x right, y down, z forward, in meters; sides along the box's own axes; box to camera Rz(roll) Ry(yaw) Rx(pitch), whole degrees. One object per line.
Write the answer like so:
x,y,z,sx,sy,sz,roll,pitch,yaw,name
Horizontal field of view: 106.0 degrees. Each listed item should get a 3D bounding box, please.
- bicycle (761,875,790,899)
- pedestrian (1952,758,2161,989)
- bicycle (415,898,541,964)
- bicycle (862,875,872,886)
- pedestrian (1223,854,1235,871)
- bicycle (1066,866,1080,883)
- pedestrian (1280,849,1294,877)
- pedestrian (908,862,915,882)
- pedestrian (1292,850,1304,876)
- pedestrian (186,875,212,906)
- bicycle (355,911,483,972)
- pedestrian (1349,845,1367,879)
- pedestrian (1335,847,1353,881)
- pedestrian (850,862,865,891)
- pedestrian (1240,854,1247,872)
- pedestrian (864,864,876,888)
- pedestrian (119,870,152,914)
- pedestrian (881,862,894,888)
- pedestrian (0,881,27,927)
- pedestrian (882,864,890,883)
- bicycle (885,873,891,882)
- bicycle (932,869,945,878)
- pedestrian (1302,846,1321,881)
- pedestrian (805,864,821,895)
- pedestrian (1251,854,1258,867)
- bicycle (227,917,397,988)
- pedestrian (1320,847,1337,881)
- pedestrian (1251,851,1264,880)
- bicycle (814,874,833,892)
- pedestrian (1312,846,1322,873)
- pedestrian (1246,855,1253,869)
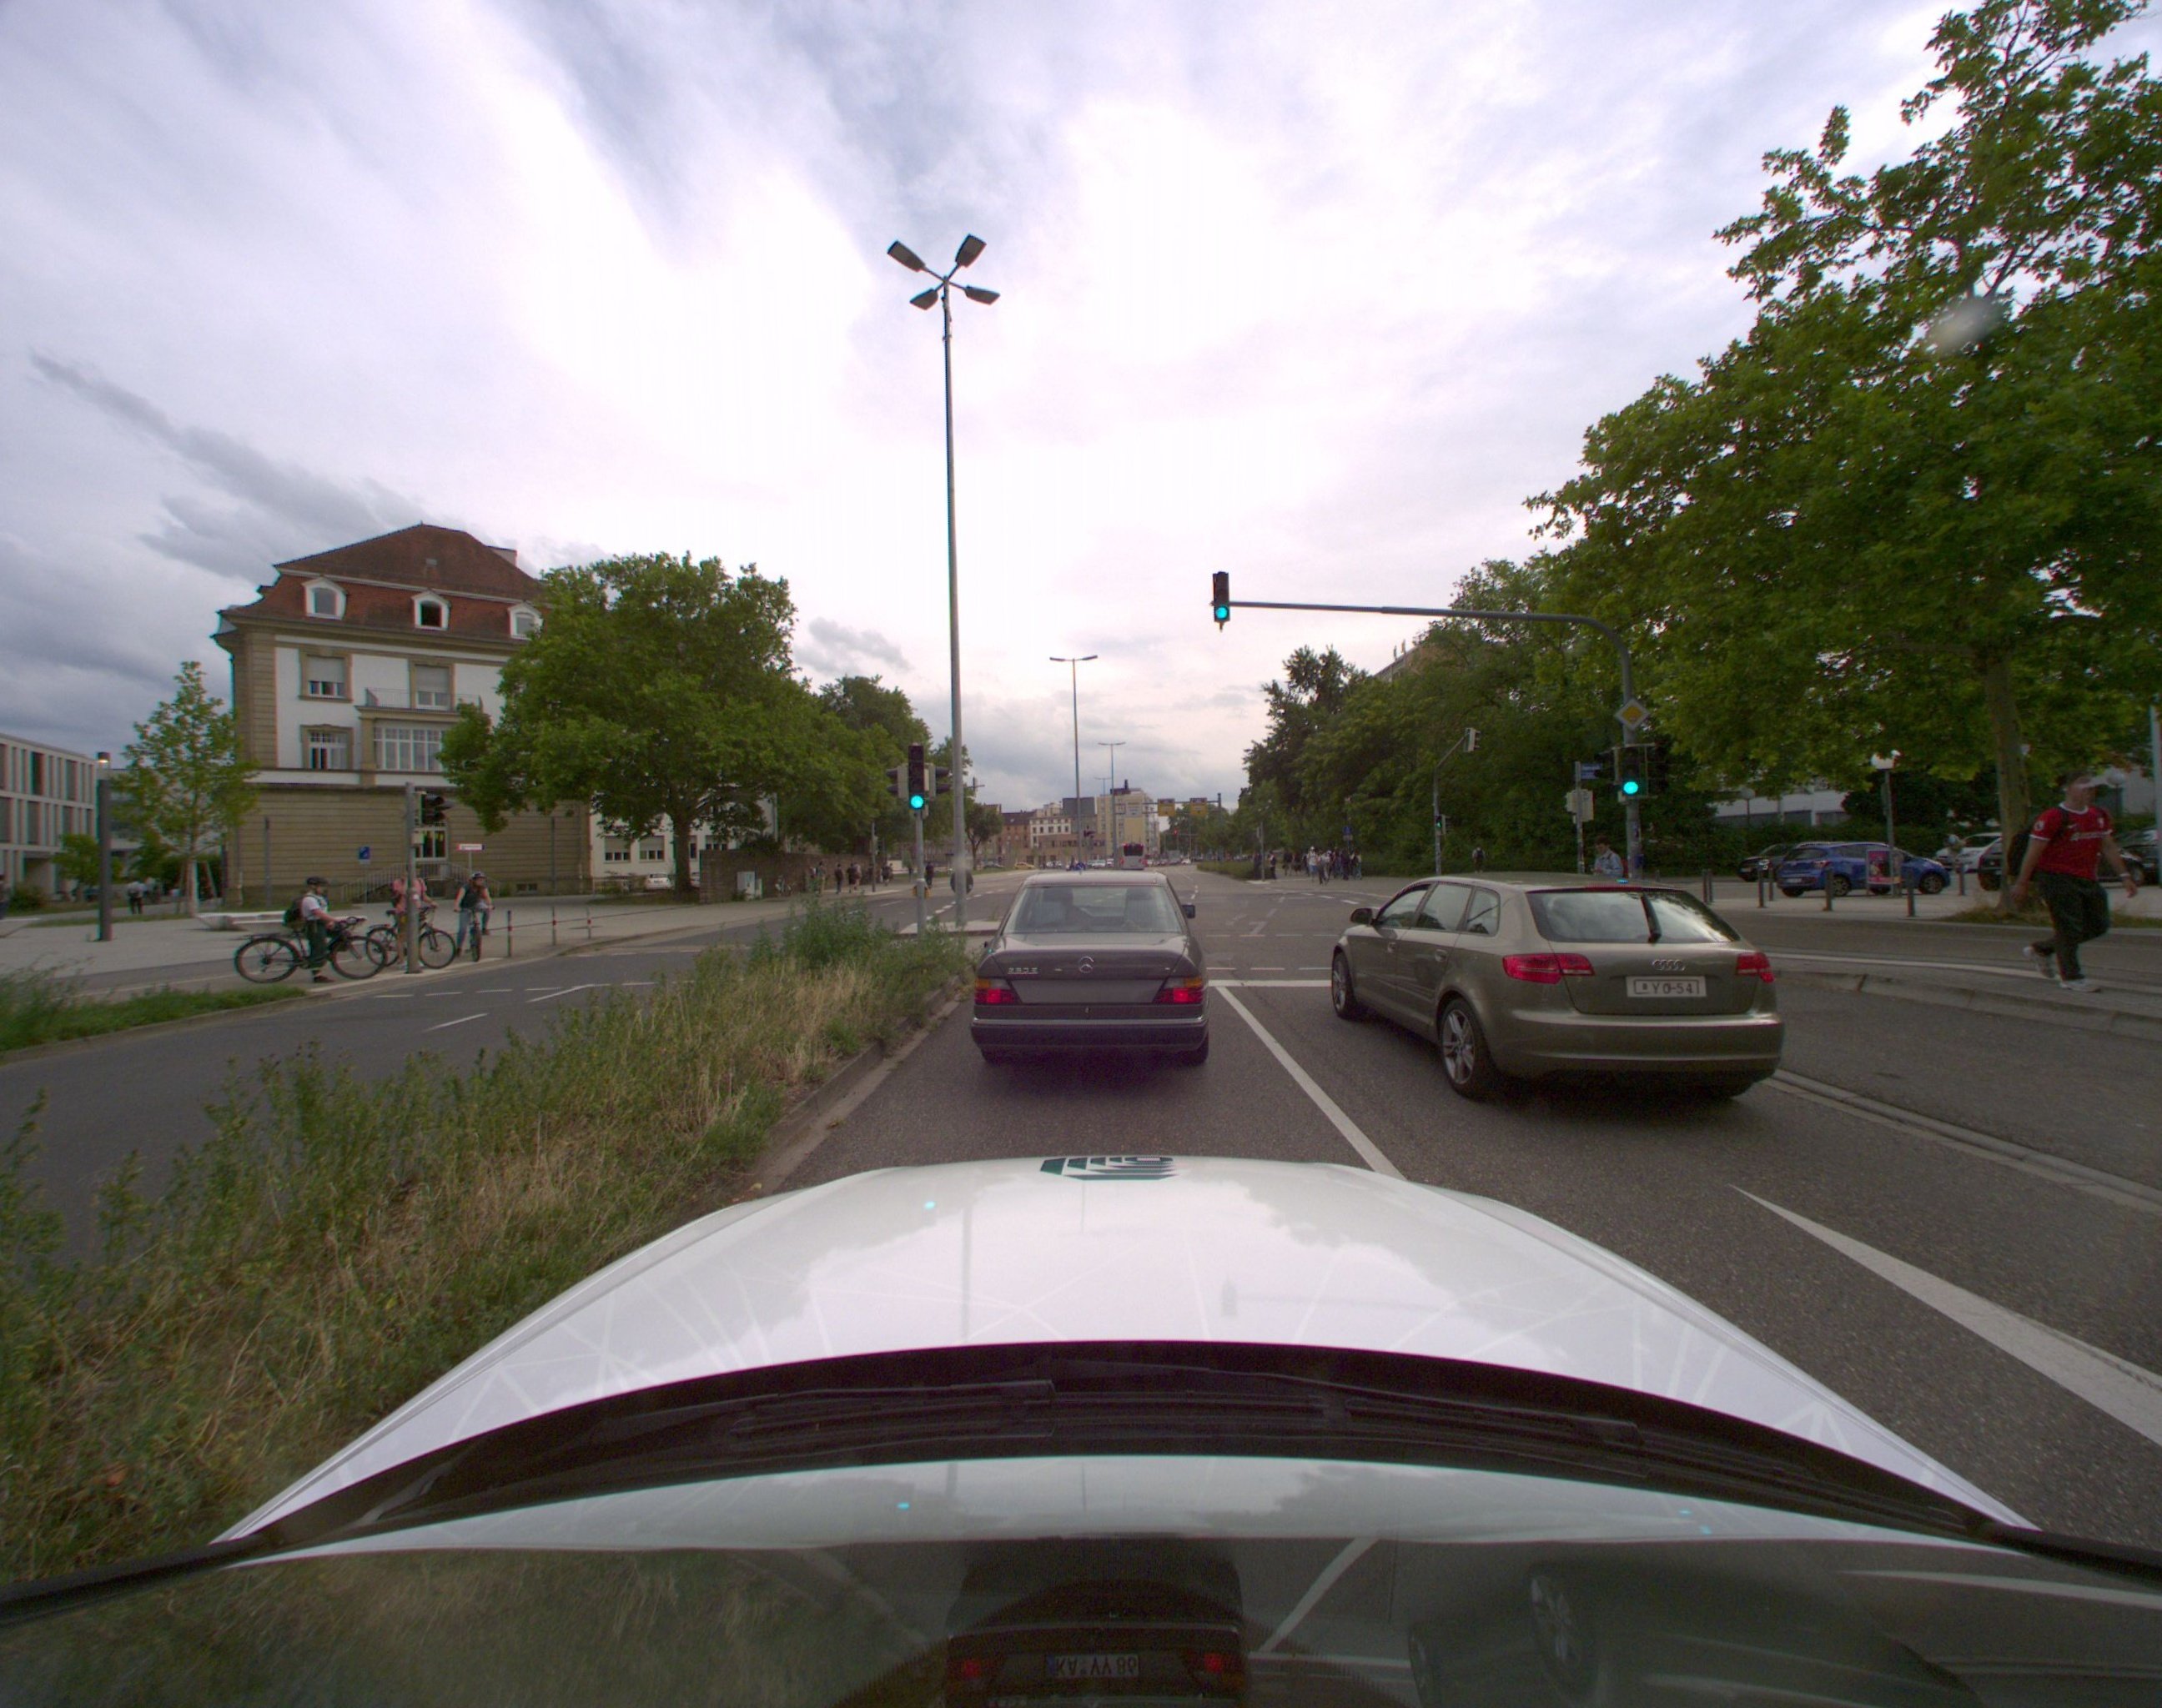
-15.450,1.666,41.247,0.575,1.126,2.165,1,0,1,bicycle
8.589,0.158,7.128,0.723,1.853,1.064,-2,-1,0,pedestrian
-11.852,1.500,16.064,1.891,1.170,0.604,-2,-1,-13,bicycle
-16.606,2.032,63.335,0.440,0.797,1.618,1,0,-4,bicycle
16.517,0.926,90.941,0.925,1.830,0.892,-3,-1,32,pedestrian
-0.531,1.337,53.558,0.570,1.055,1.931,-2,-1,9,bicycle
13.683,0.571,54.200,0.689,1.821,0.956,-2,-1,5,pedestrian
-14.856,1.581,71.512,0.560,1.668,0.624,-1,-2,-12,pedestrian
14.166,0.577,53.171,0.553,1.655,0.754,-2,-1,5,pedestrian
-59.202,2.407,54.665,0.921,2.014,1.219,-1,-1,-34,pedestrian
-11.870,1.556,14.640,1.688,0.989,0.569,0,-1,-12,bicycle
14.554,0.409,42.869,0.654,1.745,0.781,-2,-1,3,pedestrian
13.864,0.529,42.921,0.654,1.745,0.781,-2,-1,3,pedestrian
-14.094,1.443,51.384,0.762,1.783,0.907,-1,-3,-24,pedestrian
18.351,0.965,91.864,0.611,2.014,0.598,-1,-1,4,pedestrian
-15.536,1.616,59.978,0.762,1.783,0.777,-1,-3,-24,pedestrian
-44.343,1.774,38.198,0.797,2.014,0.827,-1,-1,-34,pedestrian
-13.688,1.508,57.559,0.762,1.783,0.917,-1,-3,-24,pedestrian
-36.756,1.708,27.774,0.698,1.548,0.737,-2,-1,8,pedestrian
-17.155,1.721,71.520,0.587,1.592,0.731,-1,-2,-18,pedestrian
-17.989,2.205,75.893,0.441,0.827,1.614,1,-2,-12,bicycle
-15.142,2.070,86.445,0.467,0.919,2.347,-2,-1,13,bicycle
12.345,0.490,43.661,0.644,1.852,0.827,0,-1,-9,pedestrian
-15.477,1.459,47.047,0.749,1.783,0.776,0,-3,-30,pedestrian
20.227,0.778,94.729,0.655,1.470,0.562,-2,-1,1,pedestrian
-12.076,1.530,12.853,1.818,0.989,0.725,0,-1,-12,bicycle
13.052,0.515,43.005,0.621,1.745,0.781,-2,-1,3,pedestrian
10.634,0.684,49.077,0.599,1.735,0.655,-2,-1,3,pedestrian
-15.680,1.753,49.565,0.547,1.058,1.980,1,0,-1,bicycle
15.960,0.380,55.069,0.482,1.763,0.665,-2,-1,5,pedestrian
20.336,0.943,98.391,0.641,1.713,0.564,-2,-1,20,pedestrian
